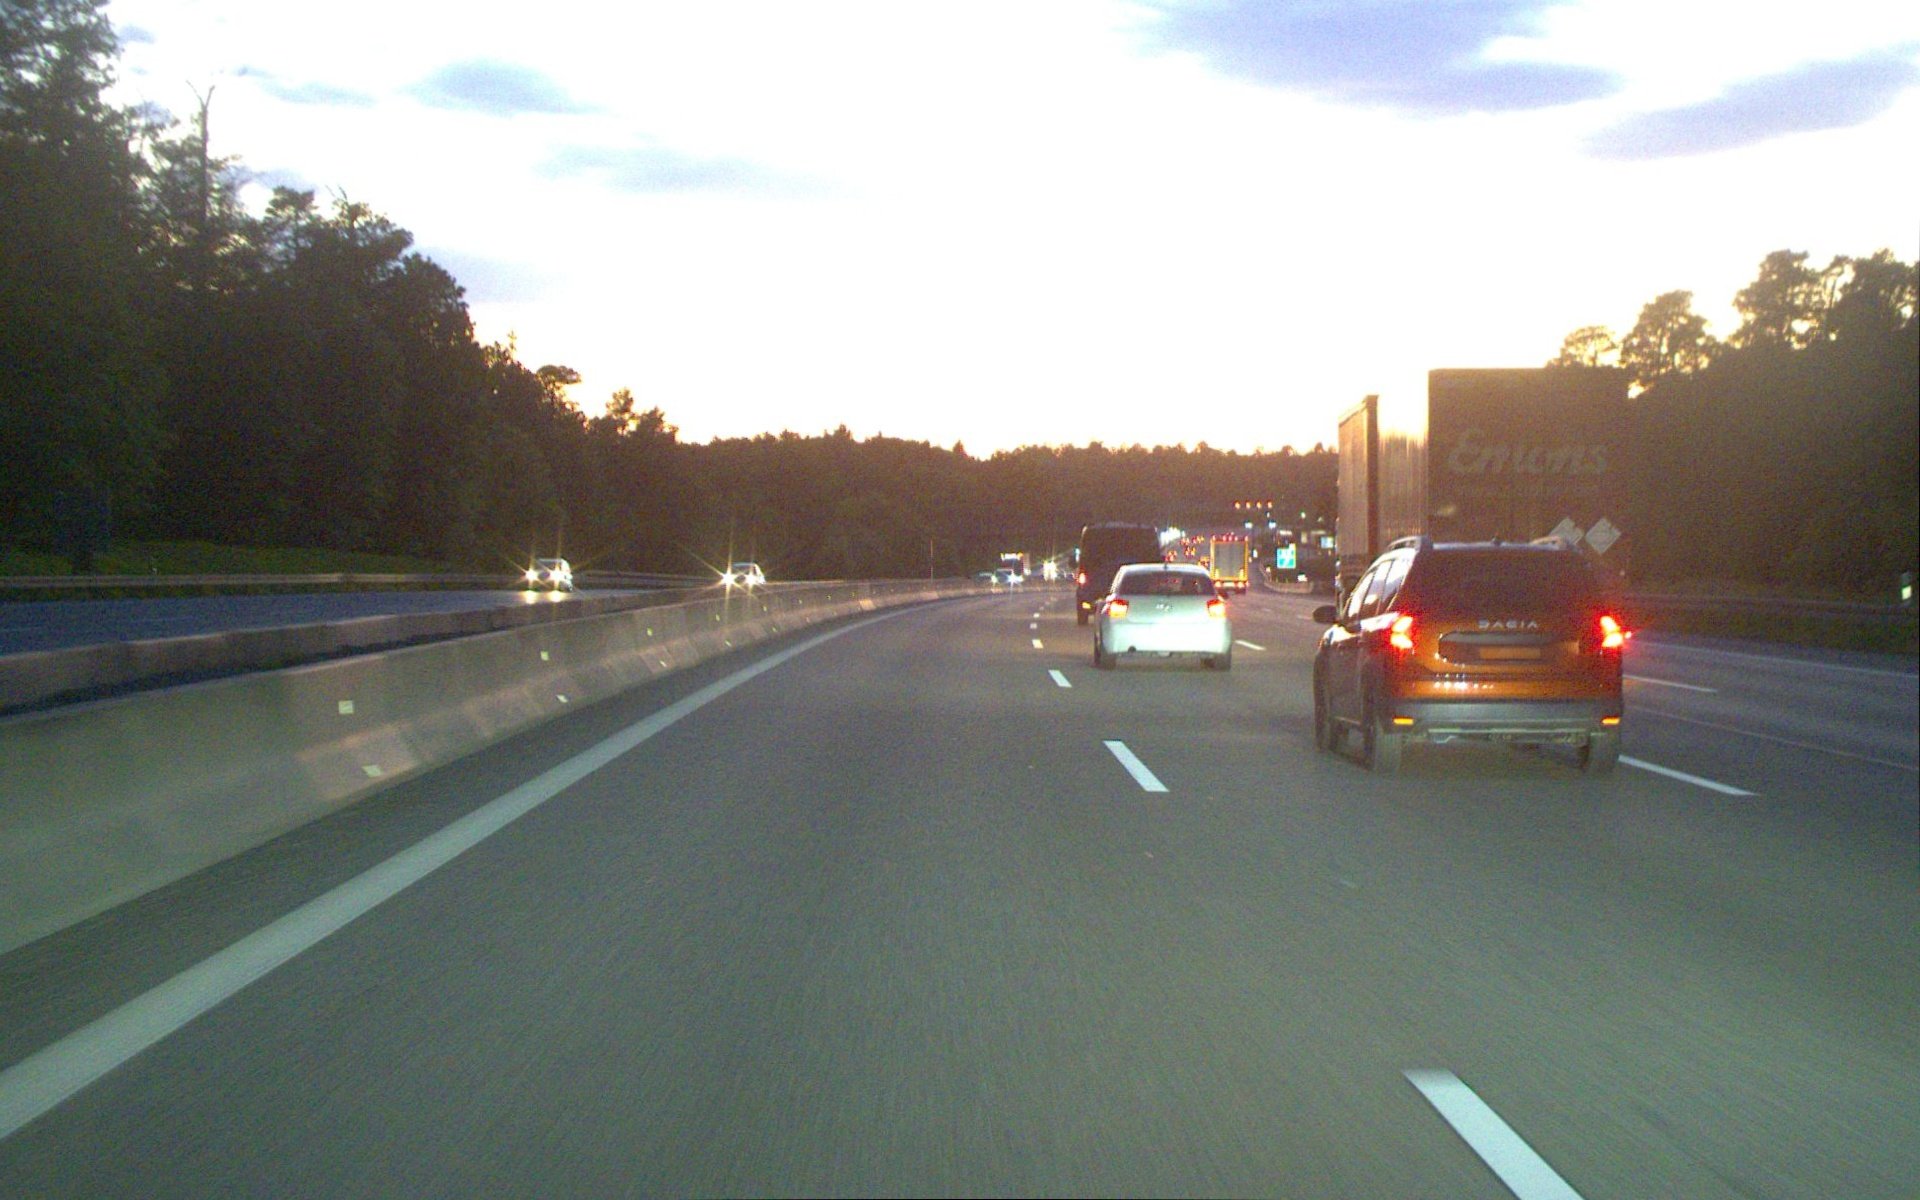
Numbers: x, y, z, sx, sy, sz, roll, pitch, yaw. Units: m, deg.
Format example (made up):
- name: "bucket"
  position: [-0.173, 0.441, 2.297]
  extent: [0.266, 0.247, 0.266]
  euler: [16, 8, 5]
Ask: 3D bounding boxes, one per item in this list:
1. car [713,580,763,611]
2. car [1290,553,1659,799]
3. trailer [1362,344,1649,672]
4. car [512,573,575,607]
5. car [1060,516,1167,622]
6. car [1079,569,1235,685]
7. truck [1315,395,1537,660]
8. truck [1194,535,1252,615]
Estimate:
- name: "car"
  position: [-11.139, -0.232, 172.711]
  extent: [1.842, 1.458, 4.775]
  euler: [2, 1, 3]
- name: "car"
  position: [3.685, 0.476, 25.530]
  extent: [1.903, 1.638, 5.052]
  euler: [0, 1, -1]
- name: "trailer"
  position: [7.438, -1.149, 48.245]
  extent: [2.907, 4.087, 10.356]
  euler: [1, 0, 3]
- name: "car"
  position: [-19.172, -0.483, 158.260]
  extent: [1.843, 1.458, 3.999]
  euler: [2, 1, 8]
- name: "car"
  position: [3.674, -0.692, 81.345]
  extent: [2.166, 2.410, 5.562]
  euler: [0, 0, 6]
- name: "car"
  position: [2.664, 0.342, 47.209]
  extent: [1.859, 1.437, 3.721]
  euler: [0, 2, -1]
- name: "truck"
  position: [7.798, -1.118, 58.836]
  extent: [2.885, 4.087, 10.830]
  euler: [1, 0, 3]
- name: "truck"
  position: [19.883, -1.836, 259.361]
  extent: [4.150, 5.836, 14.293]
  euler: [0, 0, 5]
